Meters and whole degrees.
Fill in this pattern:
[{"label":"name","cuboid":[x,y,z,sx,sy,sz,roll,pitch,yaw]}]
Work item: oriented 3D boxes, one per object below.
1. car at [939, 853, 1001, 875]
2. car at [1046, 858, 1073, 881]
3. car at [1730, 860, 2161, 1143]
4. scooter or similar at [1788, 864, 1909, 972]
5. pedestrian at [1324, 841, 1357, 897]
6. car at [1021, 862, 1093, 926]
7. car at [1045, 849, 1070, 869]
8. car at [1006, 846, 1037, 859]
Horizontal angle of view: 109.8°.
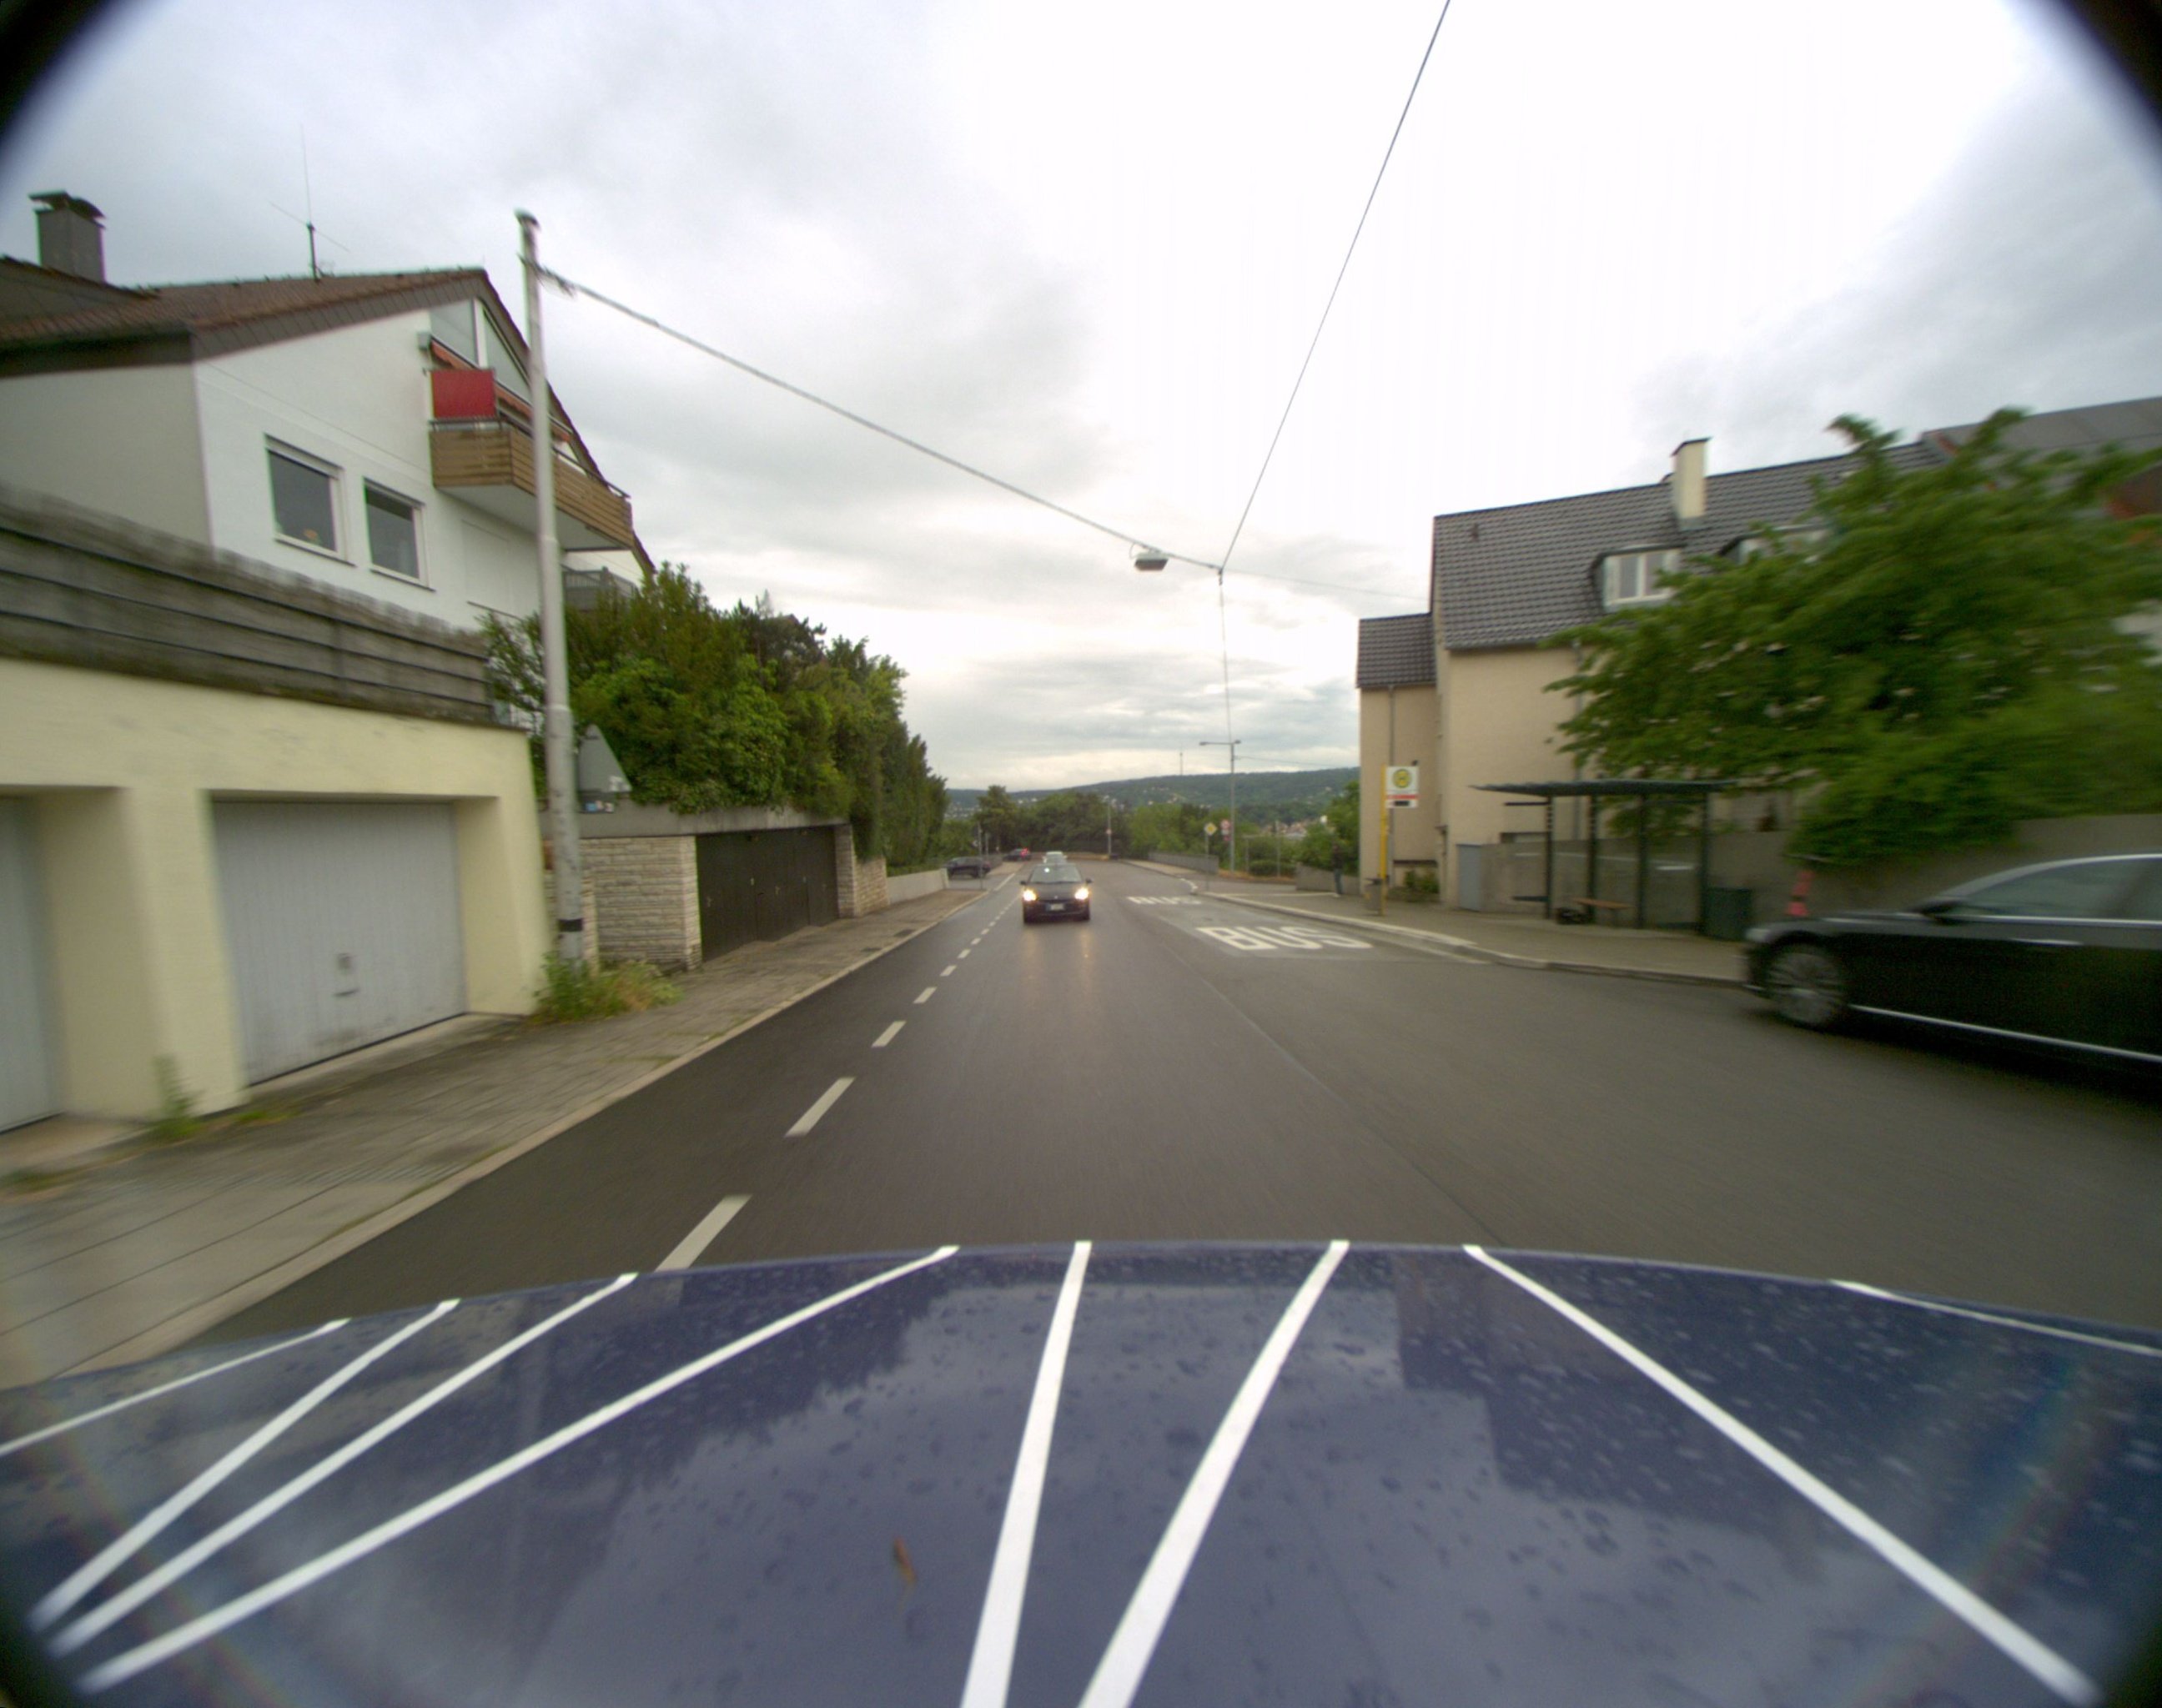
[{"label":"car","cuboid":[-8.356,0.731,57.297,4.207,1.514,1.996,-2,1,-27]},{"label":"car","cuboid":[-1.555,1.069,53.926,1.766,1.445,4.398,-1,0,-2]},{"label":"car","cuboid":[6.718,0.803,4.304,1.833,1.477,4.991,-1,0,0]},{"label":"scooter or similar","cuboid":[9.429,0.751,9.377,0.338,1.213,1.122,-2,1,-1]},{"label":"pedestrian","cuboid":[8.771,0.501,25.708,0.788,1.846,0.727,-3,1,-2]},{"label":"car","cuboid":[-0.570,0.986,20.055,1.680,1.405,3.636,-2,1,0]},{"label":"car","cuboid":[-2.104,0.411,67.394,1.890,1.566,4.589,-2,2,-6]},{"label":"car","cuboid":[-7.866,-0.227,100.234,3.988,1.537,1.743,1,2,42]}]
